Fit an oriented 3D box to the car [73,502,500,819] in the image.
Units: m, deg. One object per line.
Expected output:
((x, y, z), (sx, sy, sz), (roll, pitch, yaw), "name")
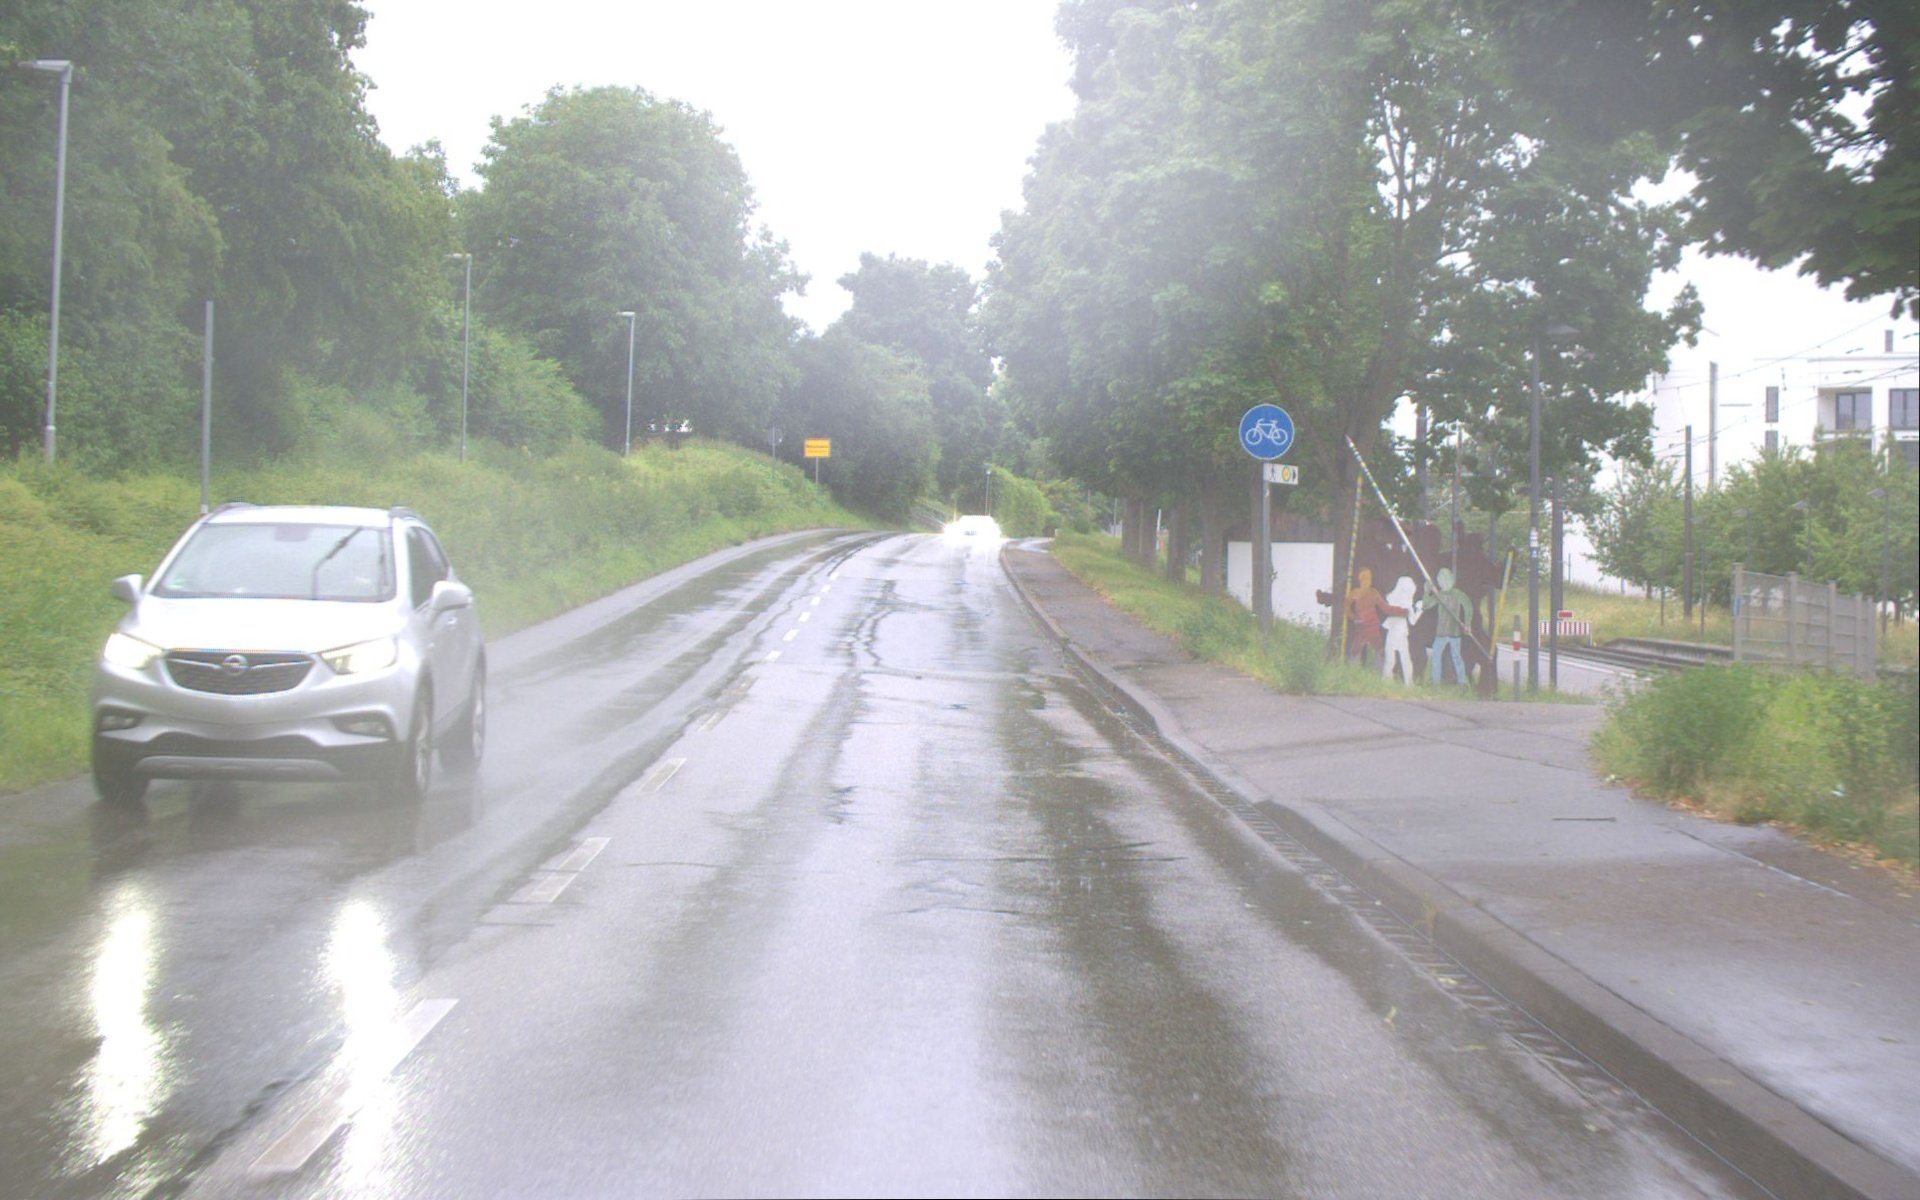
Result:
((-3.770, 0.259, 19.889), (1.744, 1.606, 4.088), (1, 2, -2), "car")
